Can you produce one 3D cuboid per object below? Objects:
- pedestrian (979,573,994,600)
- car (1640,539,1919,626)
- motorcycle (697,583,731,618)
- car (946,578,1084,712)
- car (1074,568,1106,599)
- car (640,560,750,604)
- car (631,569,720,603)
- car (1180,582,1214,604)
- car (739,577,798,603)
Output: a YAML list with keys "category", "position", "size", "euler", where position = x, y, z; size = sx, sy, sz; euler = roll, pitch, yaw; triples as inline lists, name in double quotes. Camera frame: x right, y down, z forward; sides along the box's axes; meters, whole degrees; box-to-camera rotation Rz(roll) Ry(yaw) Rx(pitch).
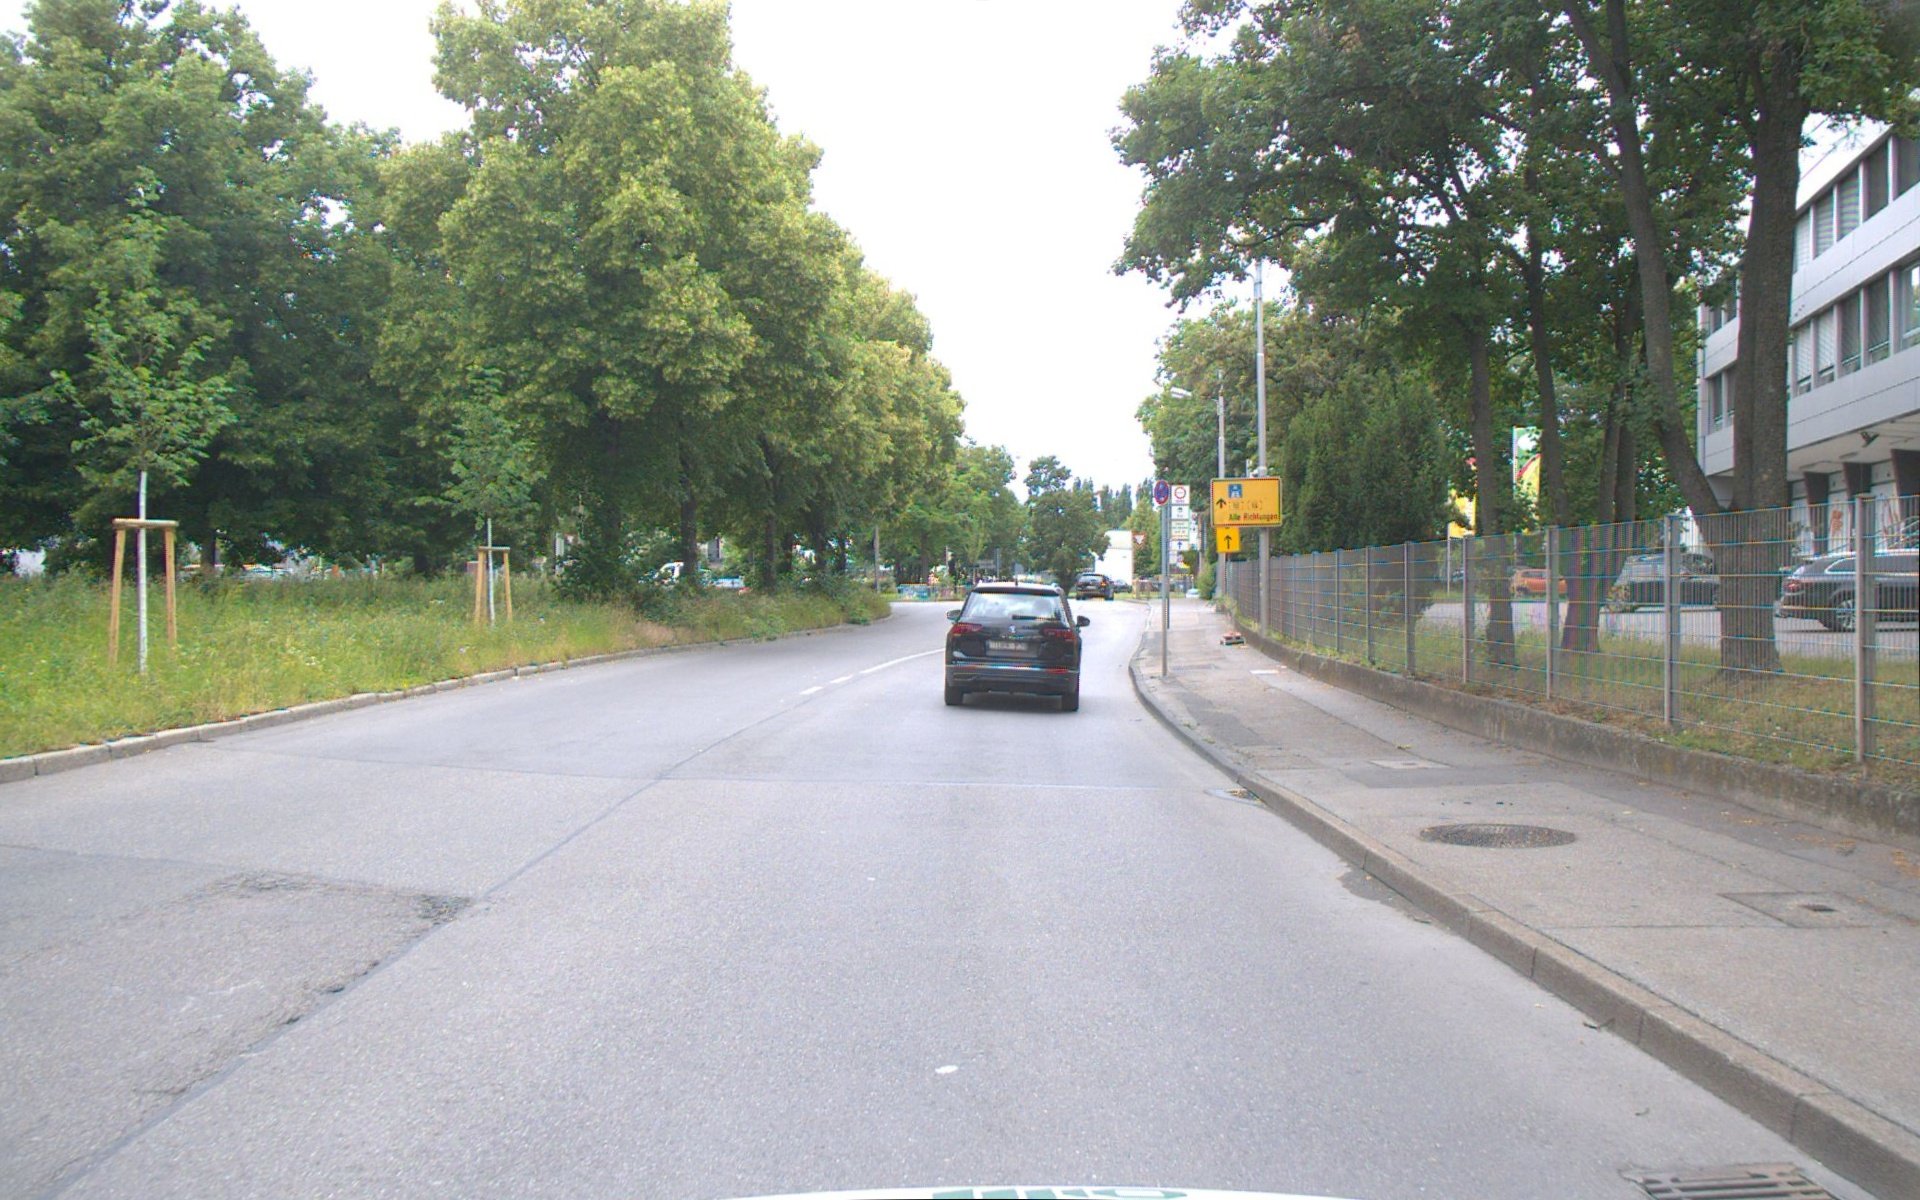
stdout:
- category: "pedestrian"
  position: [1.766, -0.876, 109.518]
  size: [0.721, 1.772, 0.732]
  euler: [-1, 1, -43]
- category: "car"
  position: [15.565, -0.296, 31.273]
  size: [1.984, 1.499, 4.620]
  euler: [-1, 0, -42]
- category: "motorcycle"
  position: [-8.648, 0.006, 58.286]
  size: [0.553, 1.188, 2.037]
  euler: [-1, 1, 10]
- category: "car"
  position: [0.752, 0.556, 22.626]
  size: [1.703, 1.646, 3.642]
  euler: [1, 0, 2]
- category: "car"
  position: [7.003, -0.880, 89.280]
  size: [1.624, 1.601, 3.830]
  euler: [-1, 1, 3]
- category: "car"
  position: [-15.286, -1.045, 95.600]
  size: [5.945, 2.429, 2.395]
  euler: [-1, 1, 0]
- category: "car"
  position: [-17.081, -0.864, 99.346]
  size: [4.872, 1.976, 2.050]
  euler: [-1, 1, 12]
- category: "car"
  position: [20.081, -0.587, 140.044]
  size: [1.952, 1.817, 4.000]
  euler: [1, 1, 21]
- category: "car"
  position: [-11.409, -0.587, 98.602]
  size: [3.325, 1.504, 1.640]
  euler: [-1, 1, -2]
